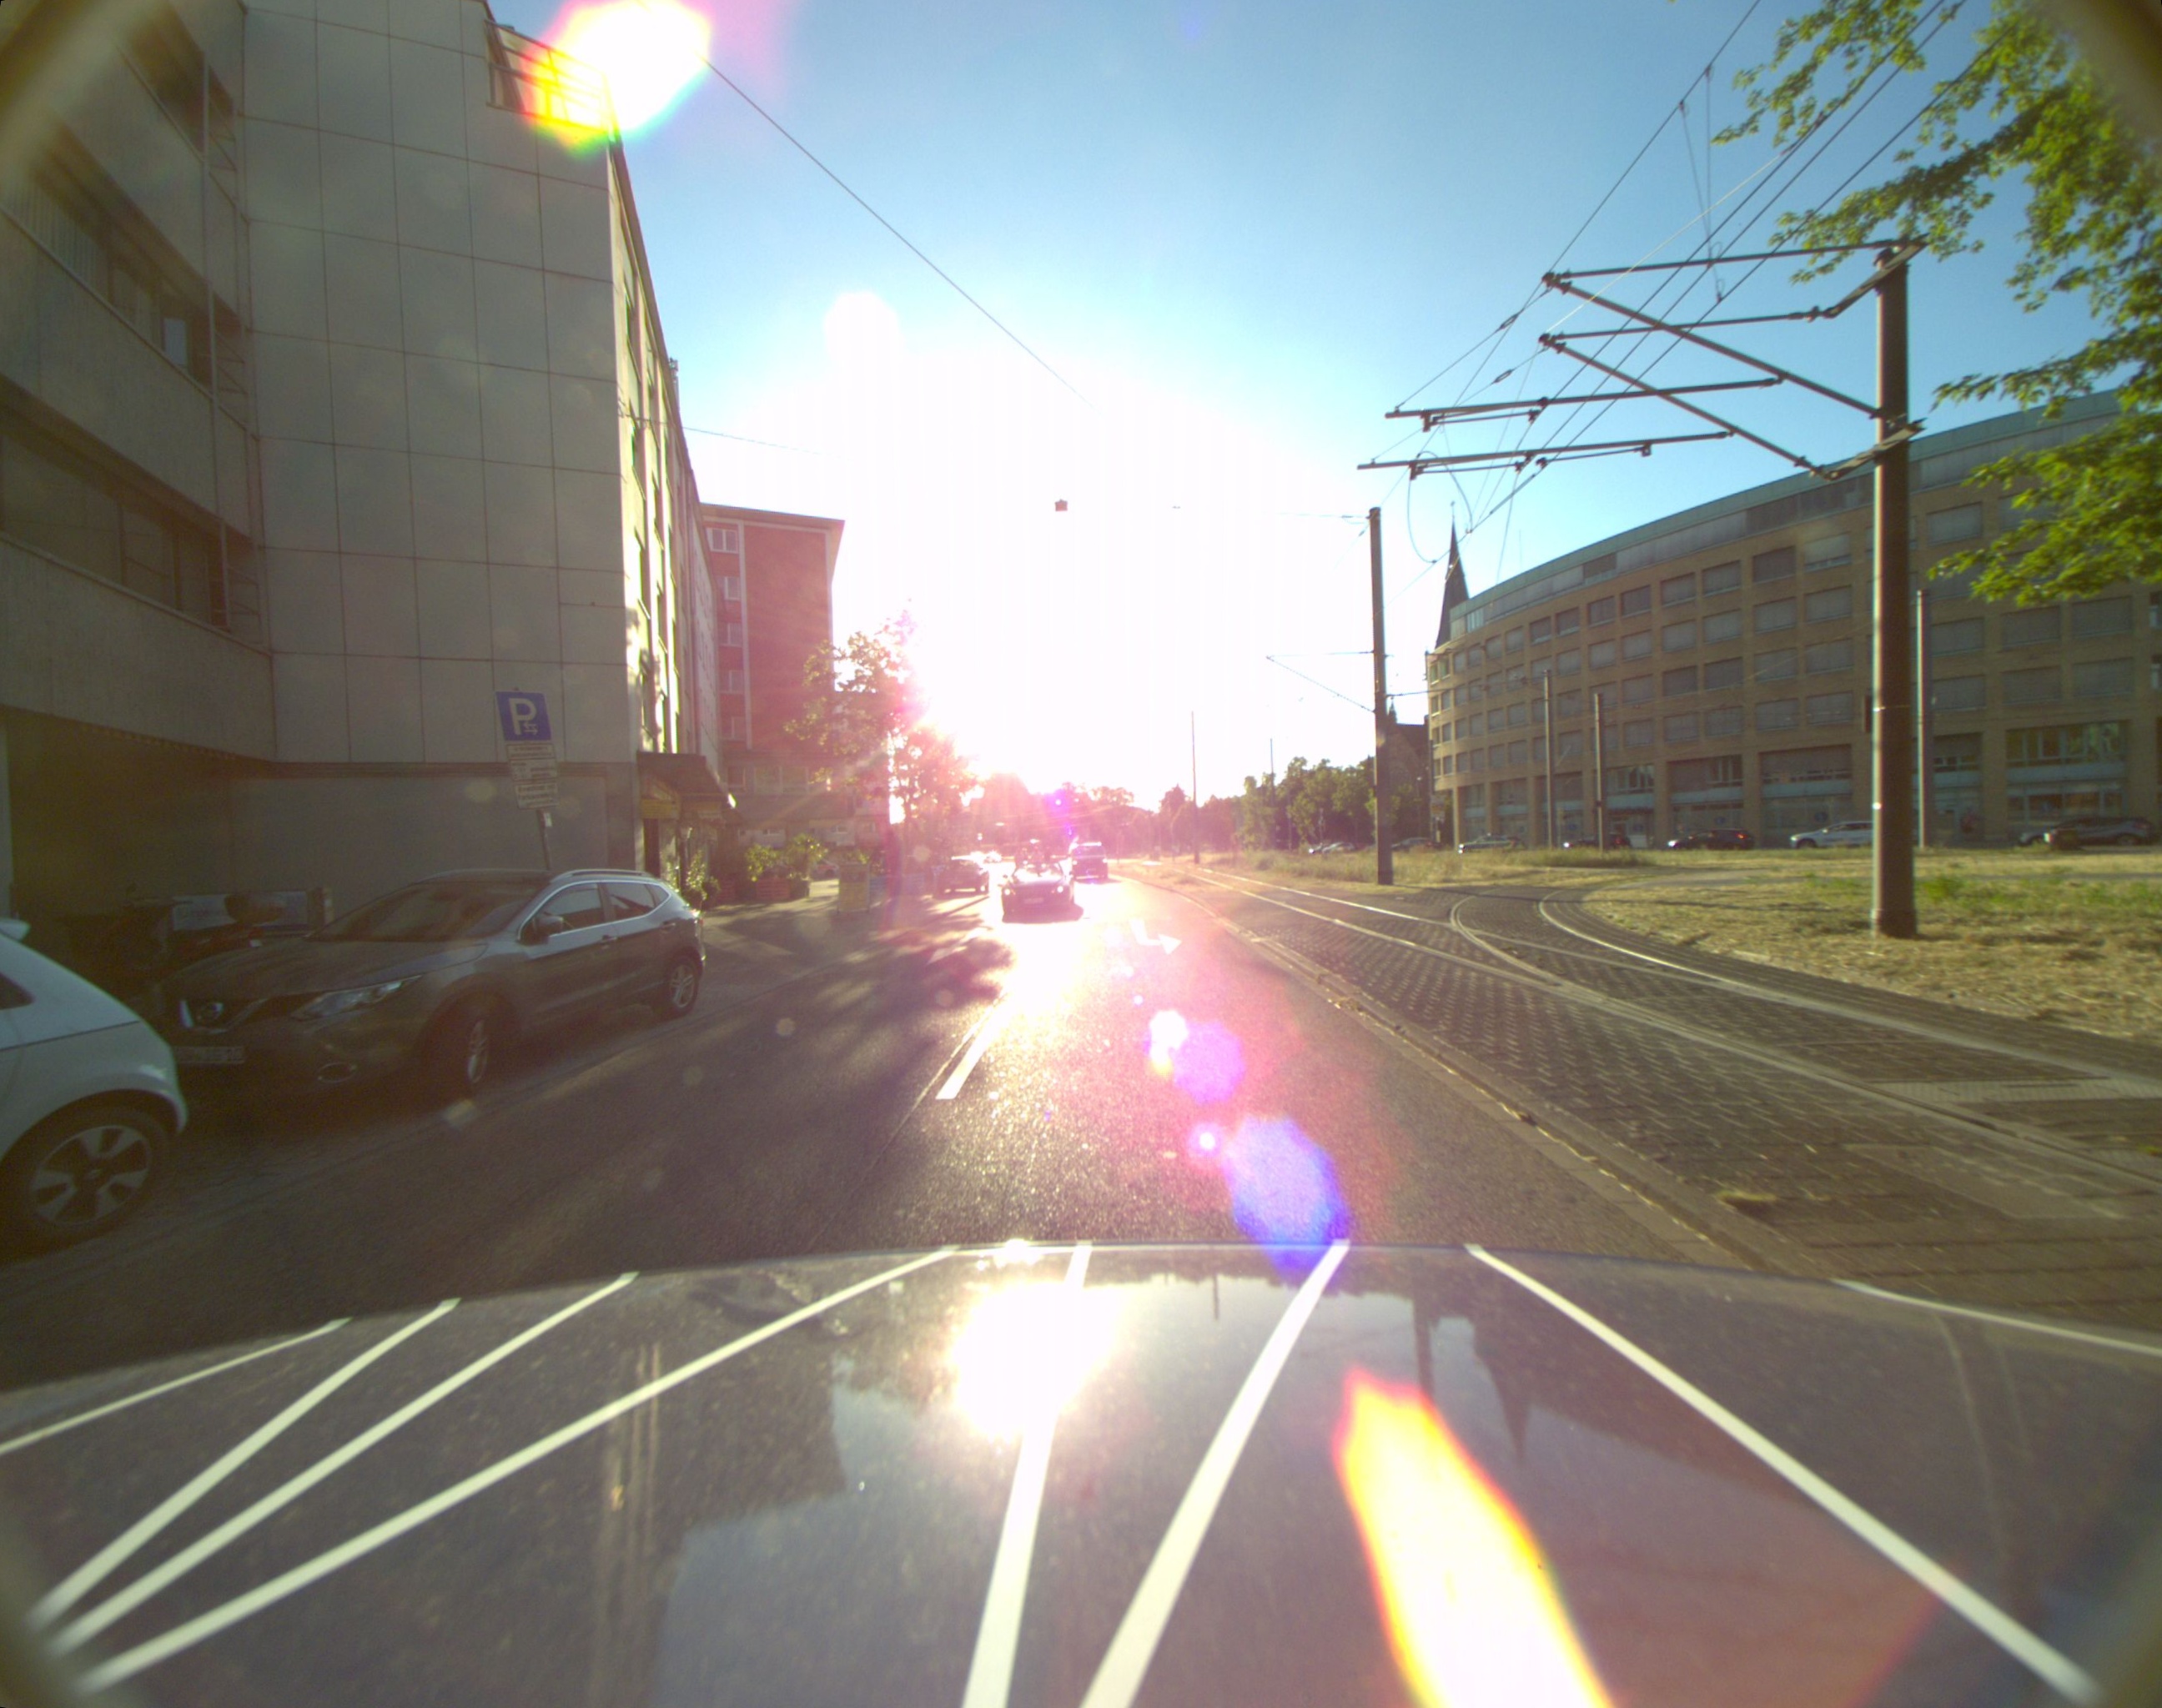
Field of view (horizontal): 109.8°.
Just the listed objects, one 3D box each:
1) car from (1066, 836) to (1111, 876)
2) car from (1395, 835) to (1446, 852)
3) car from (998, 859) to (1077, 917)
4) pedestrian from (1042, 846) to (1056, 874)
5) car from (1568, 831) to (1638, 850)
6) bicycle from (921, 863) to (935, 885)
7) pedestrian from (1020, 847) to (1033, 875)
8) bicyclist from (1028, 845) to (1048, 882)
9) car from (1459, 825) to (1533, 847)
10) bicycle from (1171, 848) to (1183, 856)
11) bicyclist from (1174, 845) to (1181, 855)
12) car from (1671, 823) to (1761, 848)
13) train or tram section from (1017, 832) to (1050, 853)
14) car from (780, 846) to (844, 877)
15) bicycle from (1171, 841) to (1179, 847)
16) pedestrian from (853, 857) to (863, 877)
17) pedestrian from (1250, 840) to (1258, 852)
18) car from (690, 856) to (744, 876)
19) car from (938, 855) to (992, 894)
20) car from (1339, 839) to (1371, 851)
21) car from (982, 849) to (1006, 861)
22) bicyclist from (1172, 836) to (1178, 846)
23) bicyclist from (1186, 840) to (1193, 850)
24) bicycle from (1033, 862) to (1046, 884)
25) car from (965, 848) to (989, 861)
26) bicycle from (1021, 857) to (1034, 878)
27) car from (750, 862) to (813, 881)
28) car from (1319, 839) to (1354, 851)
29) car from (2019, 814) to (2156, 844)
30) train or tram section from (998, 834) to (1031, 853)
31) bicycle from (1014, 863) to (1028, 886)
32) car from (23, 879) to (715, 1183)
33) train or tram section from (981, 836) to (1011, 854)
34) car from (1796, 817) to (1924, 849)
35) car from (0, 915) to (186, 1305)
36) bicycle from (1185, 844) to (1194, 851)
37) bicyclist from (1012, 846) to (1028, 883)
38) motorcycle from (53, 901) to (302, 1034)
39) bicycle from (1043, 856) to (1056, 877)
[{"bbox_3d":[0.338,0.086,41.019,1.920,1.978,4.944,-3,1,-5],"label":"car"},{"bbox_3d":[29.135,-0.894,65.293,1.732,1.275,3.782,-3,1,-22],"label":"car"},{"bbox_3d":[-1.109,0.875,21.315,1.775,1.300,4.240,-2,1,2],"label":"car"},{"bbox_3d":[-1.966,0.368,47.051,0.679,1.639,0.901,-4,1,-10],"label":"pedestrian"},{"bbox_3d":[34.997,-0.892,51.053,1.526,1.147,3.592,-3,1,-23],"label":"car"},{"bbox_3d":[-8.200,1.063,40.671,0.422,1.151,1.752,-3,0,-20],"label":"bicycle"},{"bbox_3d":[-3.261,0.422,45.606,0.640,1.639,0.842,-4,1,-9],"label":"pedestrian"},{"bbox_3d":[-2.131,0.451,37.834,0.829,1.797,1.056,-3,1,-7],"label":"bicyclist"},{"bbox_3d":[31.801,-1.348,58.407,1.897,1.472,4.772,-2,1,-23],"label":"car"},{"bbox_3d":[14.608,-0.262,115.437,0.460,1.140,1.914,-5,1,-40],"label":"bicycle"},{"bbox_3d":[14.644,-0.594,115.414,0.522,1.574,0.819,-5,2,-40],"label":"bicyclist"},{"bbox_3d":[37.442,-1.070,44.889,1.653,1.274,3.732,-3,0,-25],"label":"car"},{"bbox_3d":[-9.134,-2.104,143.516,2.785,3.515,10.551,-3,1,-22],"label":"train or tram section"},{"bbox_3d":[-24.200,0.680,68.363,5.272,2.468,1.922,-3,1,-22],"label":"car"},{"bbox_3d":[16.681,-1.734,134.592,0.526,1.020,1.927,-6,2,-22],"label":"bicycle"},{"bbox_3d":[-18.588,1.101,63.294,0.730,1.652,0.904,-3,1,-20],"label":"pedestrian"},{"bbox_3d":[24.299,-1.157,106.673,0.739,1.663,0.716,-3,1,-19],"label":"pedestrian"},{"bbox_3d":[-31.217,1.037,65.310,4.089,1.562,1.594,-2,1,-23],"label":"car"},{"bbox_3d":[-4.816,0.816,32.021,1.732,1.463,3.898,0,1,-1],"label":"car"},{"bbox_3d":[38.826,-1.304,107.513,4.004,1.576,1.822,-2,1,-22],"label":"car"},{"bbox_3d":[-12.209,0.135,106.684,1.845,1.393,4.575,-5,2,-25],"label":"car"},{"bbox_3d":[16.700,-2.272,134.499,0.575,1.817,0.893,-4,1,-22],"label":"bicyclist"},{"bbox_3d":[17.883,-1.460,125.218,0.575,1.671,0.893,-4,1,-22],"label":"bicyclist"},{"bbox_3d":[-2.083,0.946,37.849,0.480,1.022,1.980,-3,0,-7],"label":"bicycle"},{"bbox_3d":[-15.601,0.093,113.587,1.959,1.703,4.840,-5,2,-27],"label":"car"},{"bbox_3d":[-3.241,0.825,45.670,0.530,1.152,1.847,-4,2,-10],"label":"bicycle"},{"bbox_3d":[-24.671,1.436,62.748,4.680,1.333,1.837,-3,1,-20],"label":"car"},{"bbox_3d":[33.270,-1.130,99.075,4.003,1.412,1.899,-2,1,-18],"label":"car"},{"bbox_3d":[48.439,-1.198,36.670,1.572,1.251,3.721,-3,1,-24],"label":"car"},{"bbox_3d":[-13.656,-2.039,154.498,2.785,3.515,13.226,-3,1,-22],"label":"train or tram section"},{"bbox_3d":[-2.991,1.001,37.671,0.577,1.022,1.855,-3,0,-7],"label":"bicycle"},{"bbox_3d":[-5.121,1.083,6.483,1.786,1.547,4.234,0,1,2],"label":"car"},{"bbox_3d":[-18.691,-1.950,166.713,2.785,3.515,13.226,-3,1,-22],"label":"train or tram section"},{"bbox_3d":[40.211,-1.067,39.350,1.778,1.474,4.300,-3,0,-27],"label":"car"},{"bbox_3d":[-5.271,1.096,1.955,1.611,1.547,3.610,0,1,1],"label":"car"},{"bbox_3d":[17.866,-1.033,125.298,0.460,1.020,1.927,-4,1,-22],"label":"bicycle"},{"bbox_3d":[-3.024,0.507,37.722,0.676,1.797,0.993,-3,1,-7],"label":"bicyclist"},{"bbox_3d":[-9.954,1.224,8.436,1.788,1.324,0.583,-1,1,-10],"label":"motorcycle"},{"bbox_3d":[-1.949,0.765,47.110,0.530,1.152,1.847,-4,2,-10],"label":"bicycle"}]
